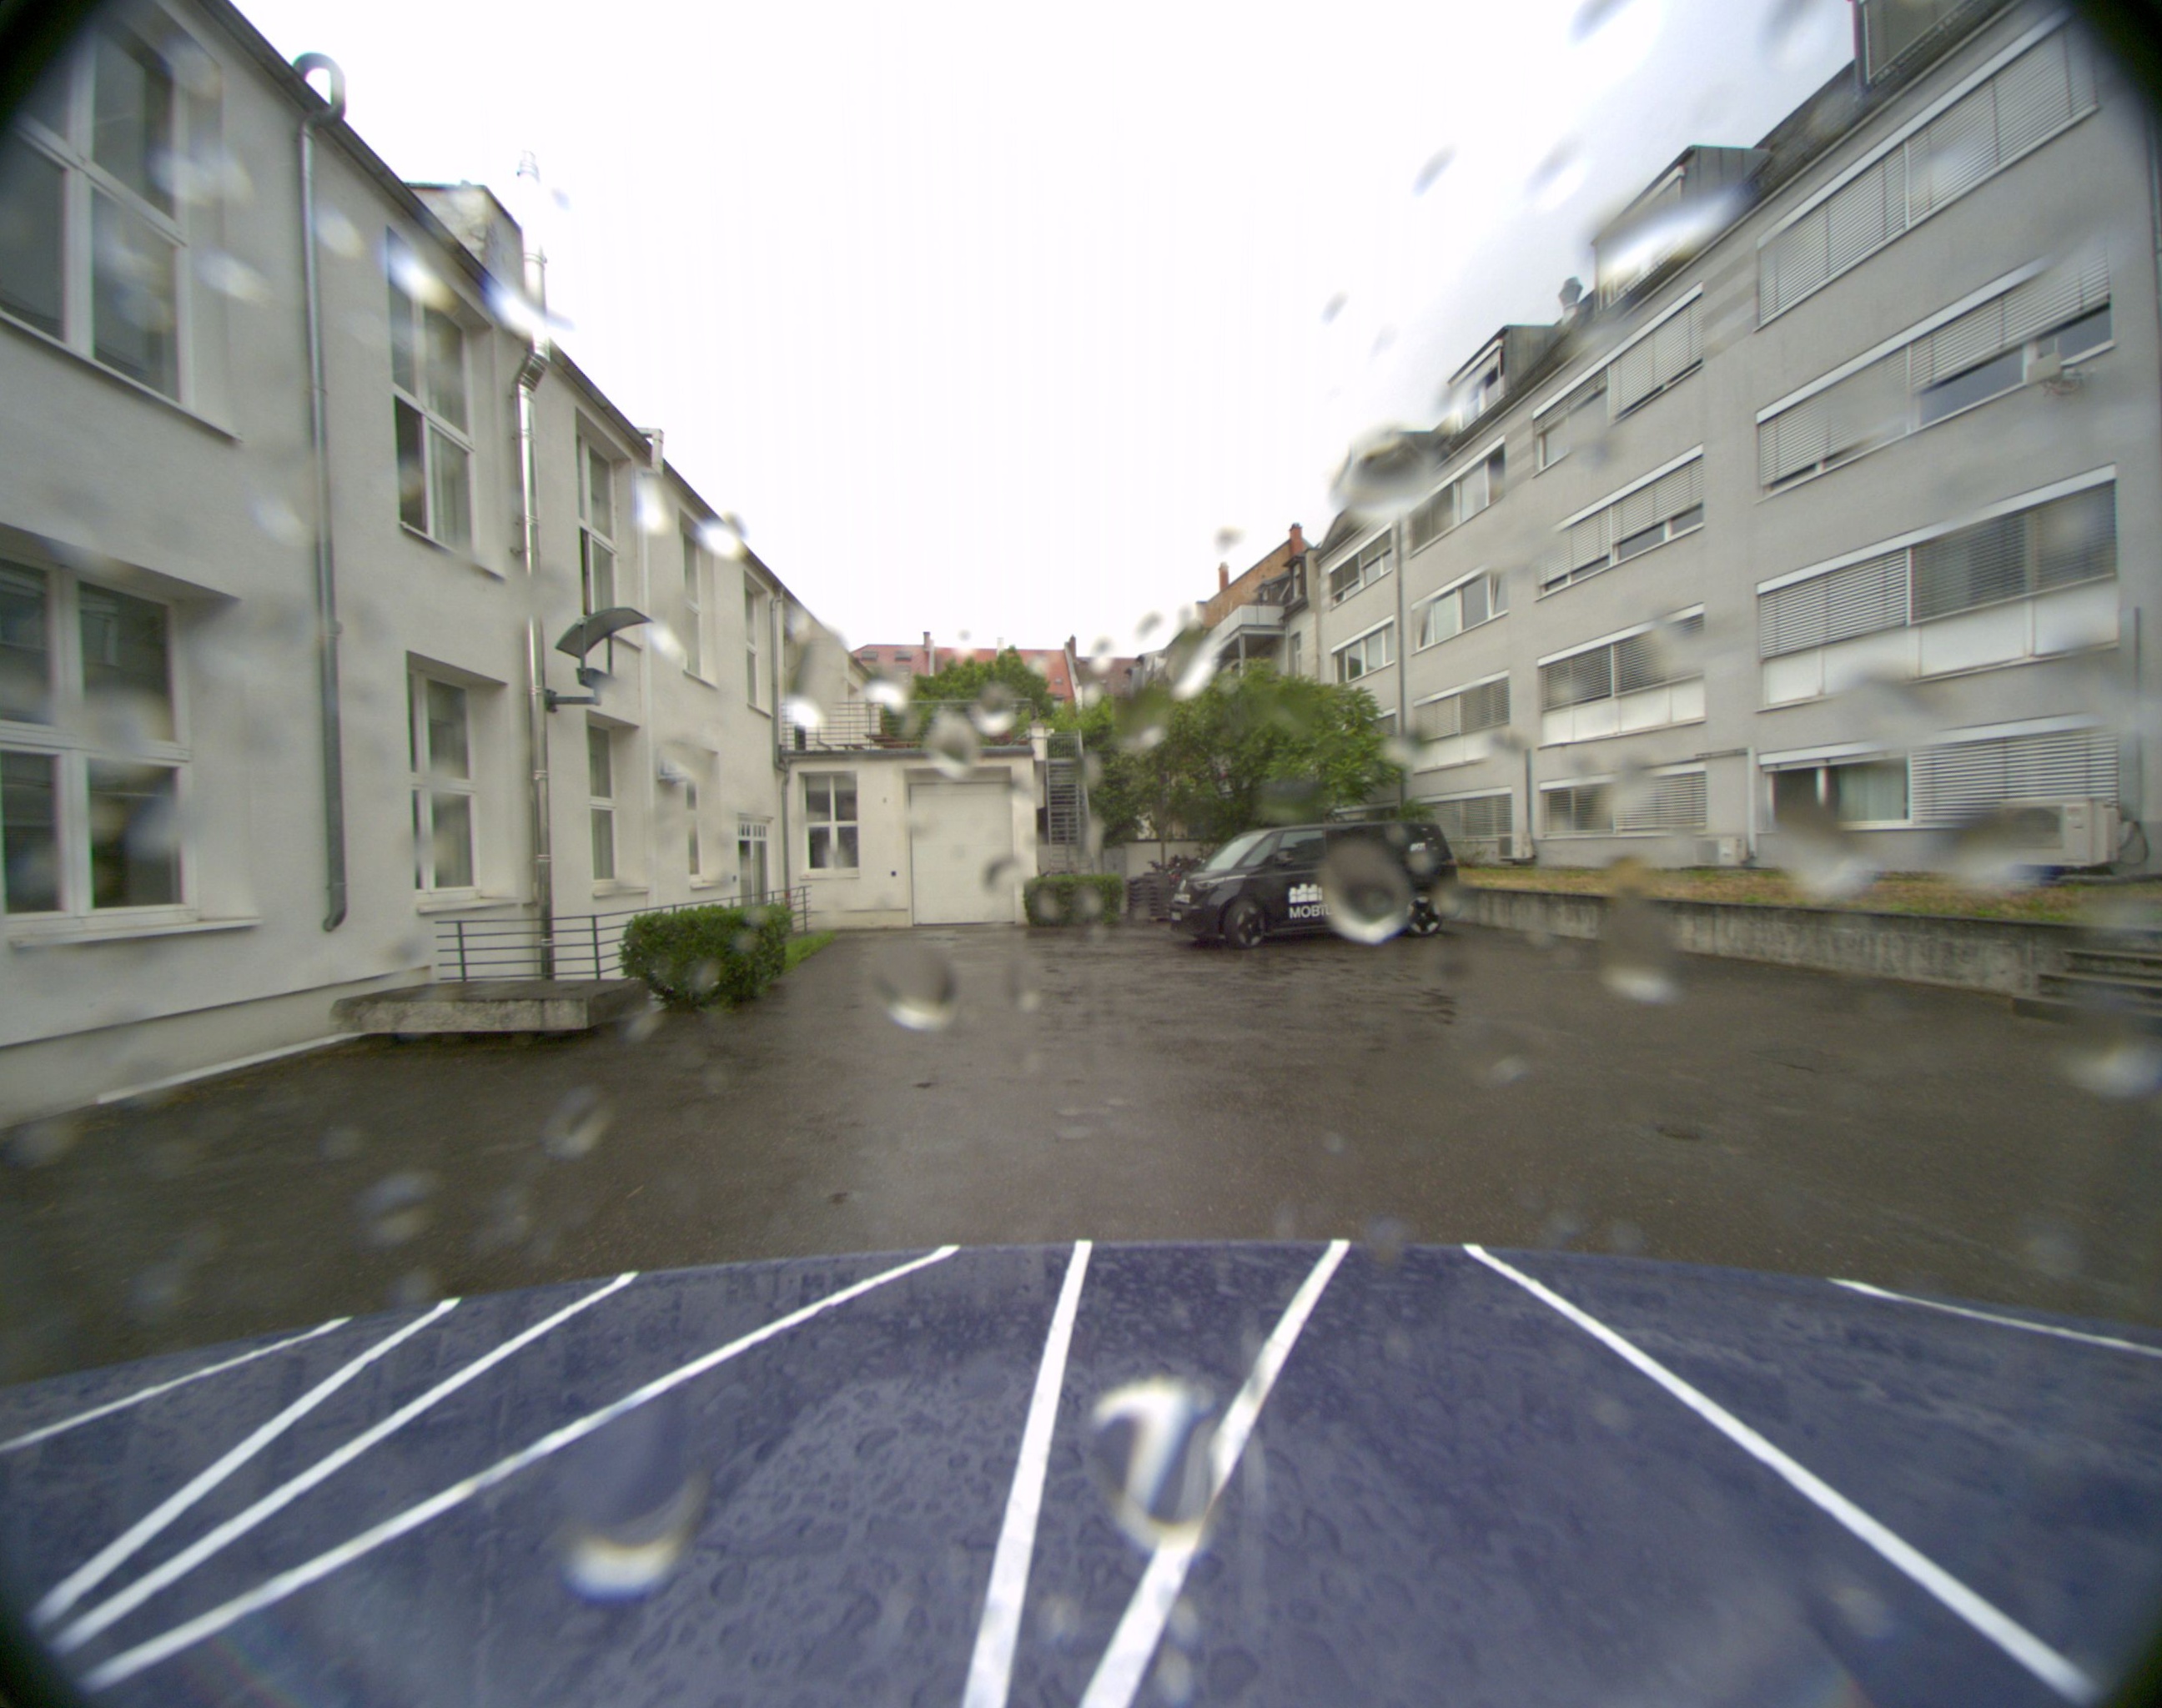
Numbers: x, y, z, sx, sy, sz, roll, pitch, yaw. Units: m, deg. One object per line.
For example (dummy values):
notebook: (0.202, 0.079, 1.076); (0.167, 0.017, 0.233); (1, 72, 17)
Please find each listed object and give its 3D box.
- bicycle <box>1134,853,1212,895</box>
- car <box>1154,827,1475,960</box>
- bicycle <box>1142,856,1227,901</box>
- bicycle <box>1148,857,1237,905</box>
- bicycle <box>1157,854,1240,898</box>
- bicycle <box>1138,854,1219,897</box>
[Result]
bicycle: (2.849, 0.616, 23.574); (2.320, 1.180, 0.643); (-2, 3, -2)
car: (3.750, 0.589, 12.596); (4.632, 1.826, 1.987); (-2, 0, -10)
bicycle: (2.952, 0.700, 21.779); (2.320, 1.180, 0.643); (-2, 3, -2)
bicycle: (3.073, 0.735, 20.987); (2.320, 1.180, 0.643); (-2, 3, -2)
bicycle: (3.470, 0.652, 22.469); (2.320, 1.180, 0.643); (-2, 3, -2)
bicycle: (2.930, 0.644, 22.946); (2.320, 1.180, 0.643); (-2, 3, -2)
